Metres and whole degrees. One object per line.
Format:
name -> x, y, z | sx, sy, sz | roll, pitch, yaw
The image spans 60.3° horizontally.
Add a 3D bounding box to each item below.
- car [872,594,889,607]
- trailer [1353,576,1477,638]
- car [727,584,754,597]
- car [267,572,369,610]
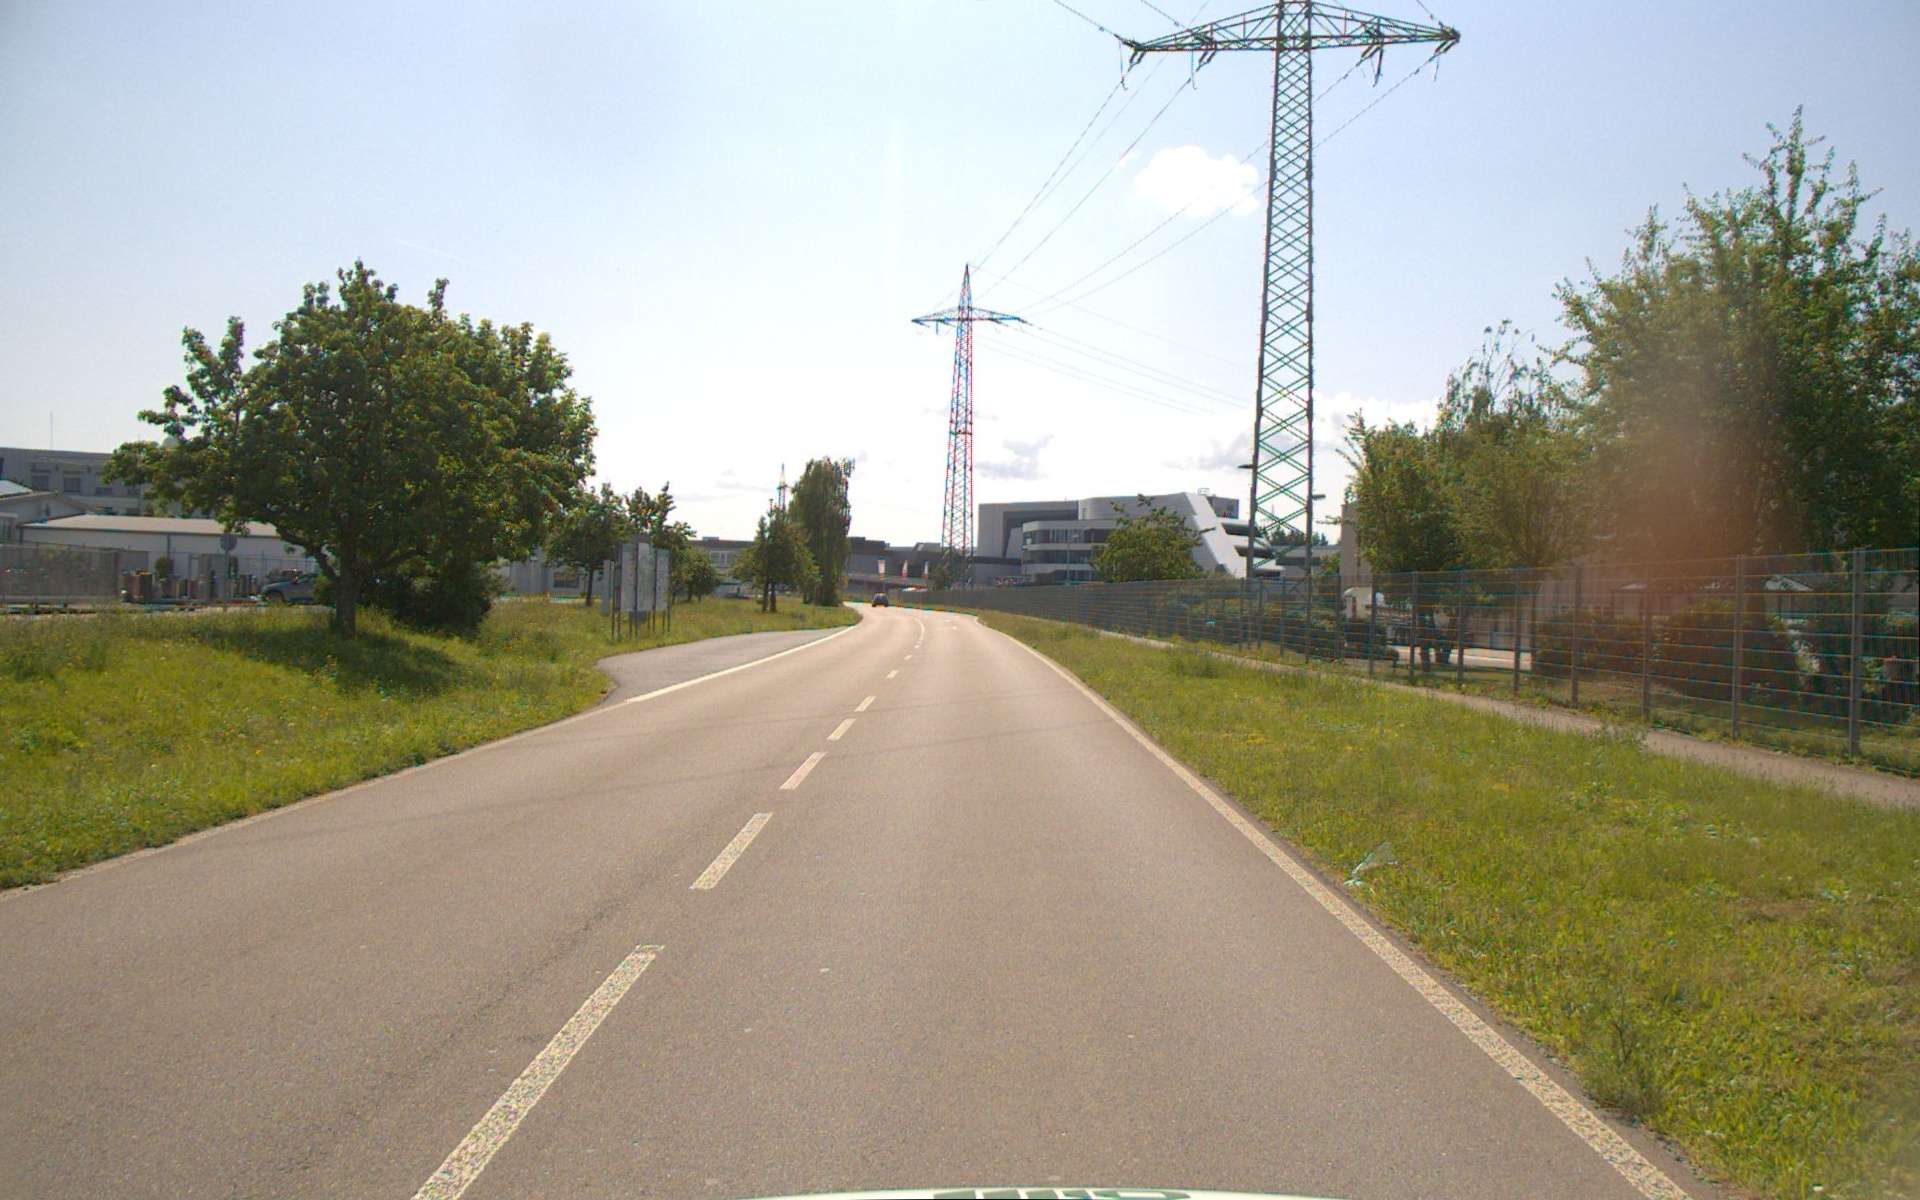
car -> -9.605, 0.080, 198.896 | 1.972, 1.534, 3.997 | 0, 0, -3
trailer -> 30.023, 0.392, 109.902 | 3.522, 3.800, 12.219 | 1, 0, -7
car -> -32.578, -1.362, 245.234 | 3.913, 1.601, 1.996 | 4, -2, -9
car -> -29.528, -0.407, 76.148 | 3.911, 1.554, 1.997 | 2, 0, -7
